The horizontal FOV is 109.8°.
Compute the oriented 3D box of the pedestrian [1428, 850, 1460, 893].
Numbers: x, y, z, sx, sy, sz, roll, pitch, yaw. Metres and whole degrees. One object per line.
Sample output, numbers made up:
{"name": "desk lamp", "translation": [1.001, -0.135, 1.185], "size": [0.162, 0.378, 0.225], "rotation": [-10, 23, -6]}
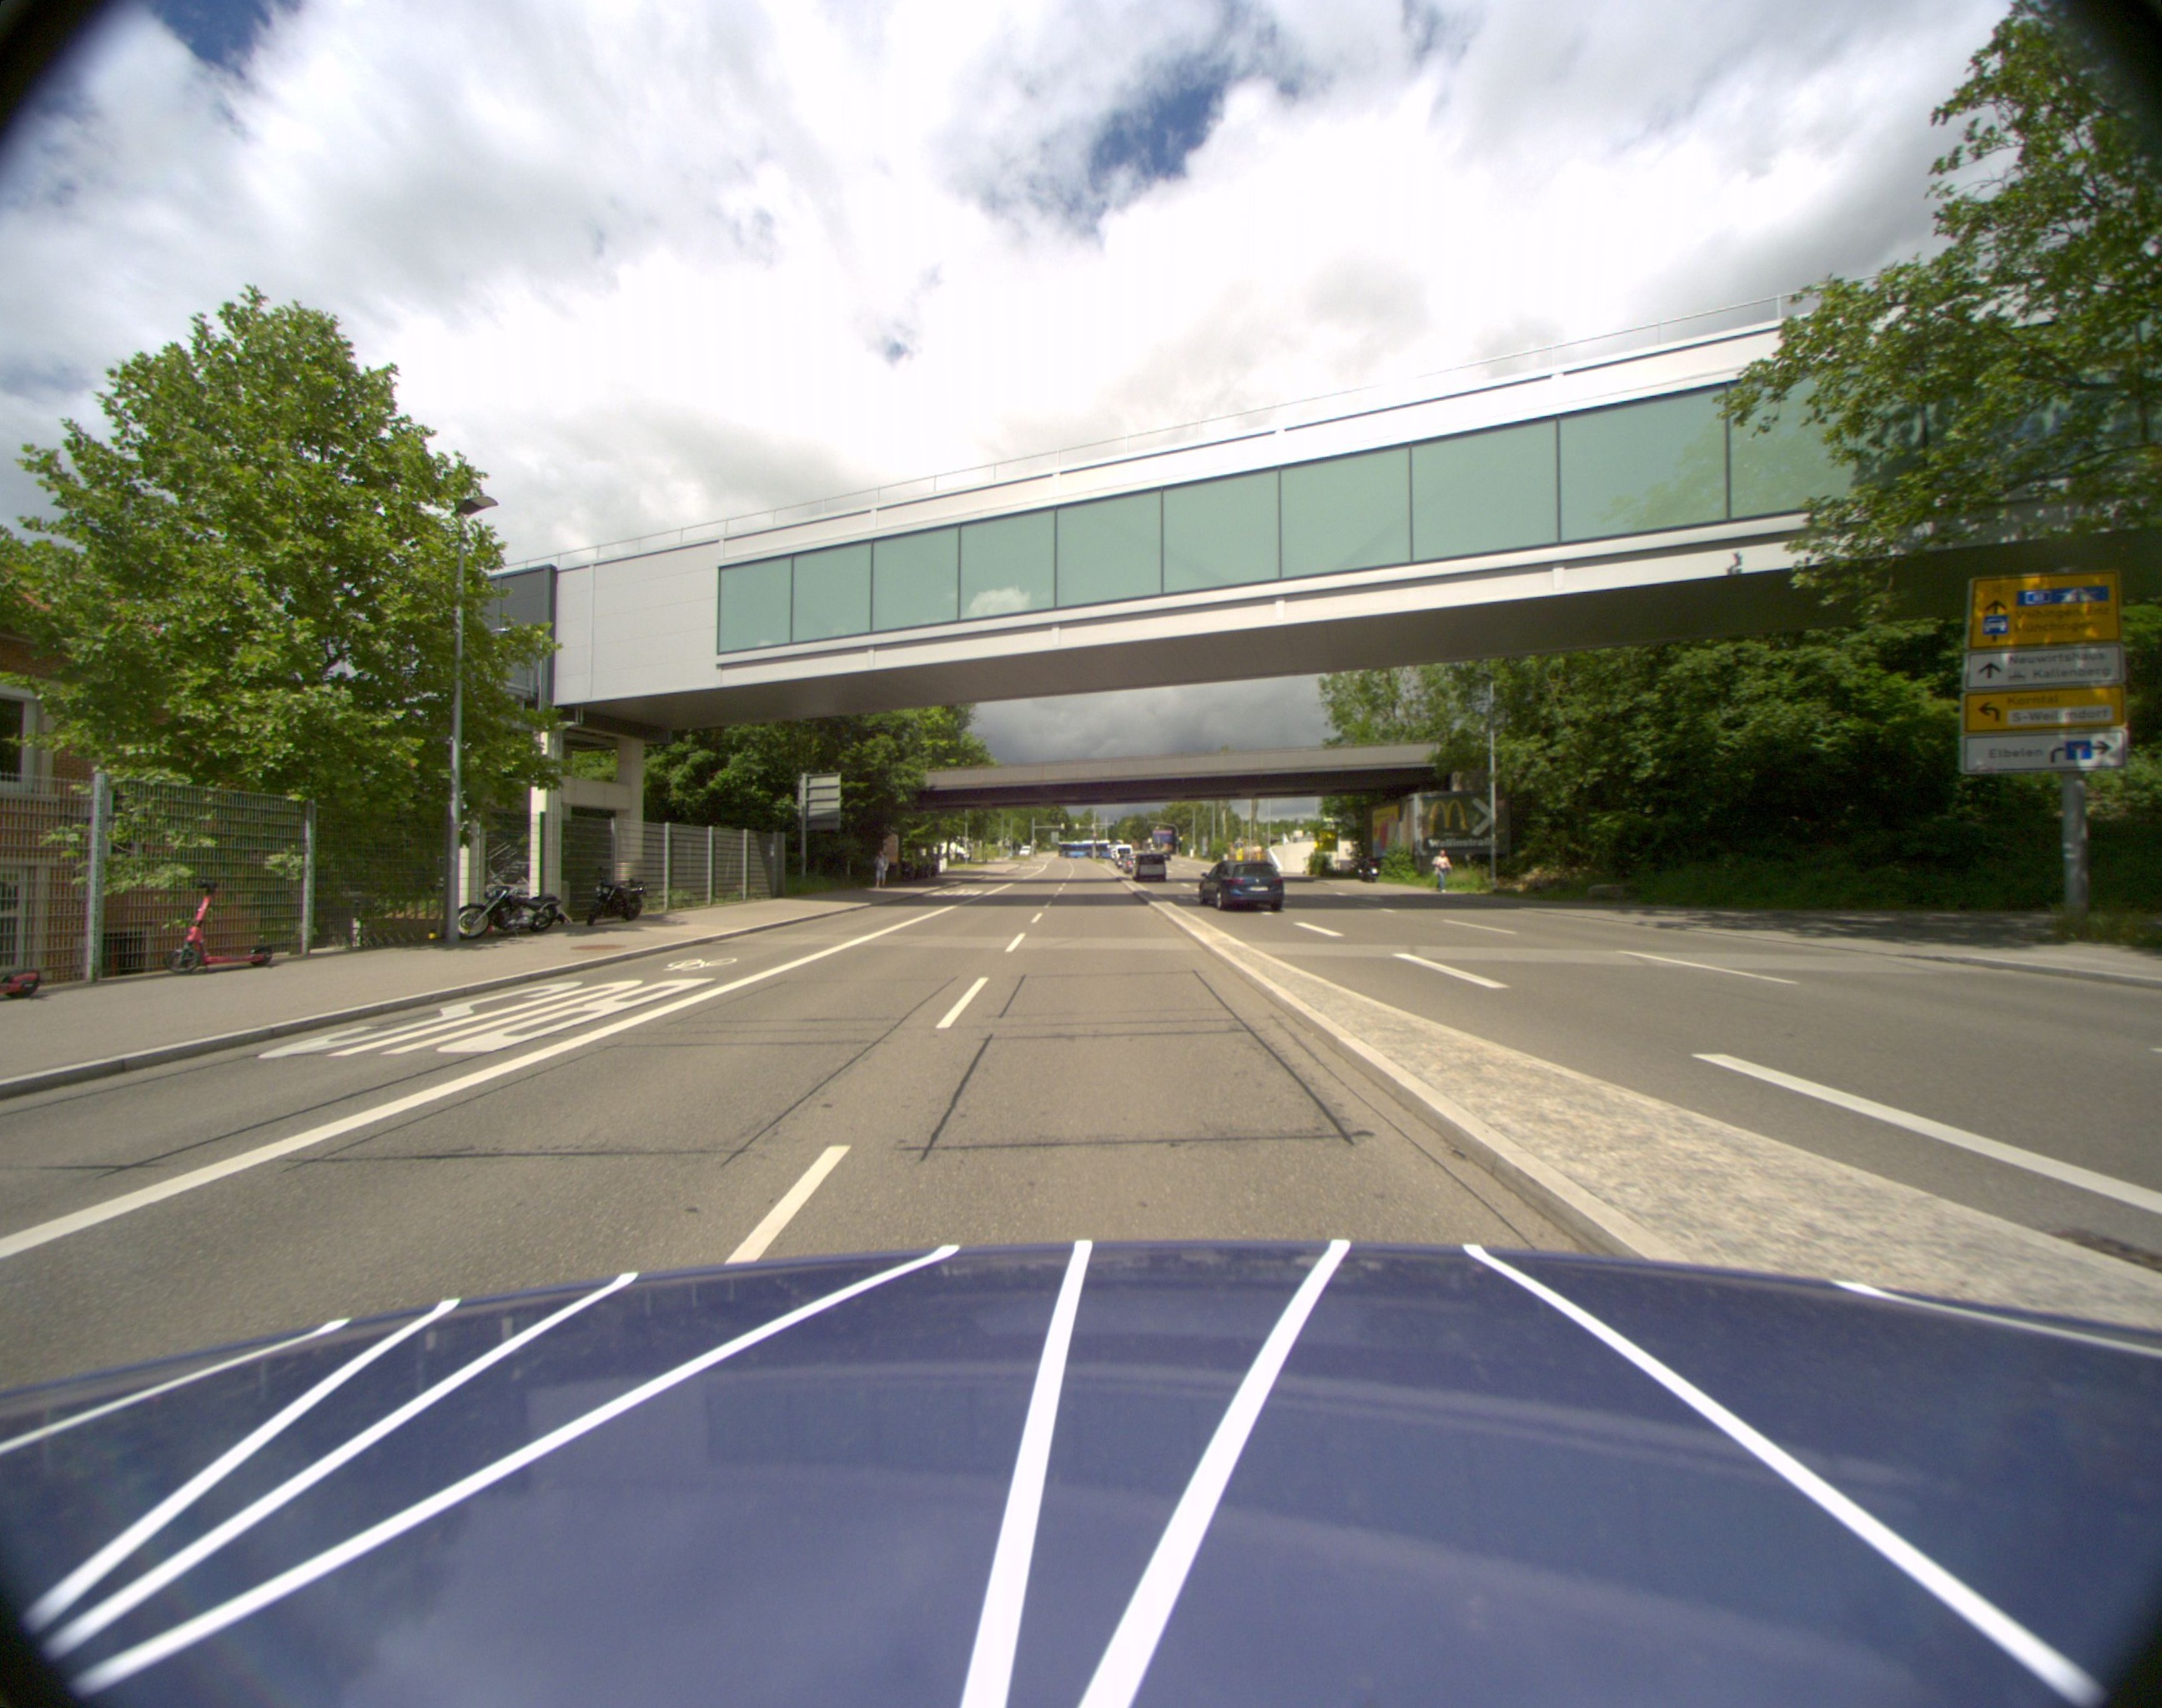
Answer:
{"name": "pedestrian", "translation": [13.892, 0.655, 29.130], "size": [0.769, 1.602, 0.813], "rotation": [-3, 1, 0]}

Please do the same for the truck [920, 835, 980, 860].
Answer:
{"name": "truck", "translation": [-22.396, -1.104, 129.731], "size": [10.061, 3.981, 2.794], "rotation": [-1, 0, 24]}

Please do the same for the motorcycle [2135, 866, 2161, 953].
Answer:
{"name": "motorcycle", "translation": [15.518, 0.720, 10.061], "size": [1.745, 1.164, 0.777], "rotation": [-3, -1, 9]}

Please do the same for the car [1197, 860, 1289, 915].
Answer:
{"name": "car", "translation": [4.773, 0.924, 23.055], "size": [1.713, 1.445, 4.478], "rotation": [-1, 0, -2]}

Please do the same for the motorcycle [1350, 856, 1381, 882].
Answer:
{"name": "motorcycle", "translation": [14.028, 0.720, 37.522], "size": [0.641, 1.191, 2.257], "rotation": [-3, 1, 0]}

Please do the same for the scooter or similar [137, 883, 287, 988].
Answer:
{"name": "scooter or similar", "translation": [-11.730, 1.061, 10.312], "size": [0.492, 1.287, 1.336], "rotation": [1, 0, 1]}

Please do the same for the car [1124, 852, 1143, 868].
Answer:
{"name": "car", "translation": [4.870, 0.553, 70.539], "size": [1.509, 1.480, 3.115], "rotation": [-1, 0, -1]}

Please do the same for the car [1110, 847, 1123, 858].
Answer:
{"name": "car", "translation": [5.745, -0.236, 122.093], "size": [1.827, 1.796, 4.254], "rotation": [-1, 0, 0]}

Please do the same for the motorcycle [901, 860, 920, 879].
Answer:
{"name": "motorcycle", "translation": [-10.803, 0.983, 48.133], "size": [0.679, 1.148, 2.113], "rotation": [0, 0, 2]}

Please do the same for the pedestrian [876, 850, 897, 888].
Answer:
{"name": "pedestrian", "translation": [-9.955, 0.754, 38.869], "size": [0.791, 1.877, 1.097], "rotation": [0, 1, 0]}

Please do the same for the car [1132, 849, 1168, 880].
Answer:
{"name": "car", "translation": [4.230, 0.613, 47.066], "size": [1.813, 1.770, 4.977], "rotation": [-1, 0, 1]}

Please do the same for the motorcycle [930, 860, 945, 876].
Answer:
{"name": "motorcycle", "translation": [-10.487, 1.006, 55.468], "size": [0.679, 1.076, 2.180], "rotation": [0, 0, 0]}

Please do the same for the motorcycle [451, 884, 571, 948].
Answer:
{"name": "motorcycle", "translation": [-11.257, 1.194, 15.127], "size": [0.670, 1.058, 2.247], "rotation": [2, 0, 1]}

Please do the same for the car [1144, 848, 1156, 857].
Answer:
{"name": "car", "translation": [12.681, -0.273, 139.852], "size": [1.998, 1.478, 4.000], "rotation": [0, 0, 2]}

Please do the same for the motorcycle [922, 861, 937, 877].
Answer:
{"name": "motorcycle", "translation": [-10.543, 1.052, 52.980], "size": [0.679, 1.076, 2.038], "rotation": [0, 0, 0]}

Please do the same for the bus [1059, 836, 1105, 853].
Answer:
{"name": "bus", "translation": [0.077, -1.659, 140.566], "size": [2.657, 2.919, 9.760], "rotation": [-3, 2, -41]}

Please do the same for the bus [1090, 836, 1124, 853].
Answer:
{"name": "bus", "translation": [4.429, -1.662, 133.810], "size": [2.654, 2.929, 8.521], "rotation": [-3, 1, -22]}

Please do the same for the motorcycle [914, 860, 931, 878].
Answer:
{"name": "motorcycle", "translation": [-10.553, 0.998, 50.556], "size": [0.679, 1.137, 2.160], "rotation": [0, 0, 0]}

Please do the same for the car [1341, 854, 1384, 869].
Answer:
{"name": "car", "translation": [30.736, 0.812, 82.975], "size": [3.997, 1.608, 1.959], "rotation": [0, 0, -1]}

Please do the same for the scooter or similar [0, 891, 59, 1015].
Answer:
{"name": "scooter or similar", "translation": [-11.761, 1.066, 7.886], "size": [0.492, 1.287, 1.336], "rotation": [1, 0, 1]}

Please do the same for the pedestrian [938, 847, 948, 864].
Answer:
{"name": "pedestrian", "translation": [-15.026, 0.172, 82.913], "size": [0.952, 1.801, 0.717], "rotation": [0, 1, -23]}

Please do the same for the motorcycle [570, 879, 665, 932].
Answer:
{"name": "motorcycle", "translation": [-11.056, 1.197, 18.255], "size": [0.709, 1.058, 2.510], "rotation": [2, 0, 1]}

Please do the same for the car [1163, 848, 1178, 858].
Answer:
{"name": "car", "translation": [13.263, -0.159, 113.006], "size": [1.998, 1.346, 4.000], "rotation": [0, 0, 2]}

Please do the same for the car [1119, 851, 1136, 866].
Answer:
{"name": "car", "translation": [4.901, 0.466, 79.546], "size": [1.572, 1.522, 2.738], "rotation": [-1, 0, 0]}

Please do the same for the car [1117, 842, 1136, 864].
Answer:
{"name": "car", "translation": [5.575, -0.130, 93.102], "size": [2.044, 2.458, 5.574], "rotation": [-1, 0, 6]}

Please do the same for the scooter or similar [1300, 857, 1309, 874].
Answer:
{"name": "scooter or similar", "translation": [14.941, 0.758, 50.764], "size": [0.477, 1.114, 1.385], "rotation": [0, 0, 12]}

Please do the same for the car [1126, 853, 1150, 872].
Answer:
{"name": "car", "translation": [4.633, 0.673, 62.492], "size": [1.713, 1.480, 3.983], "rotation": [0, 0, 0]}
